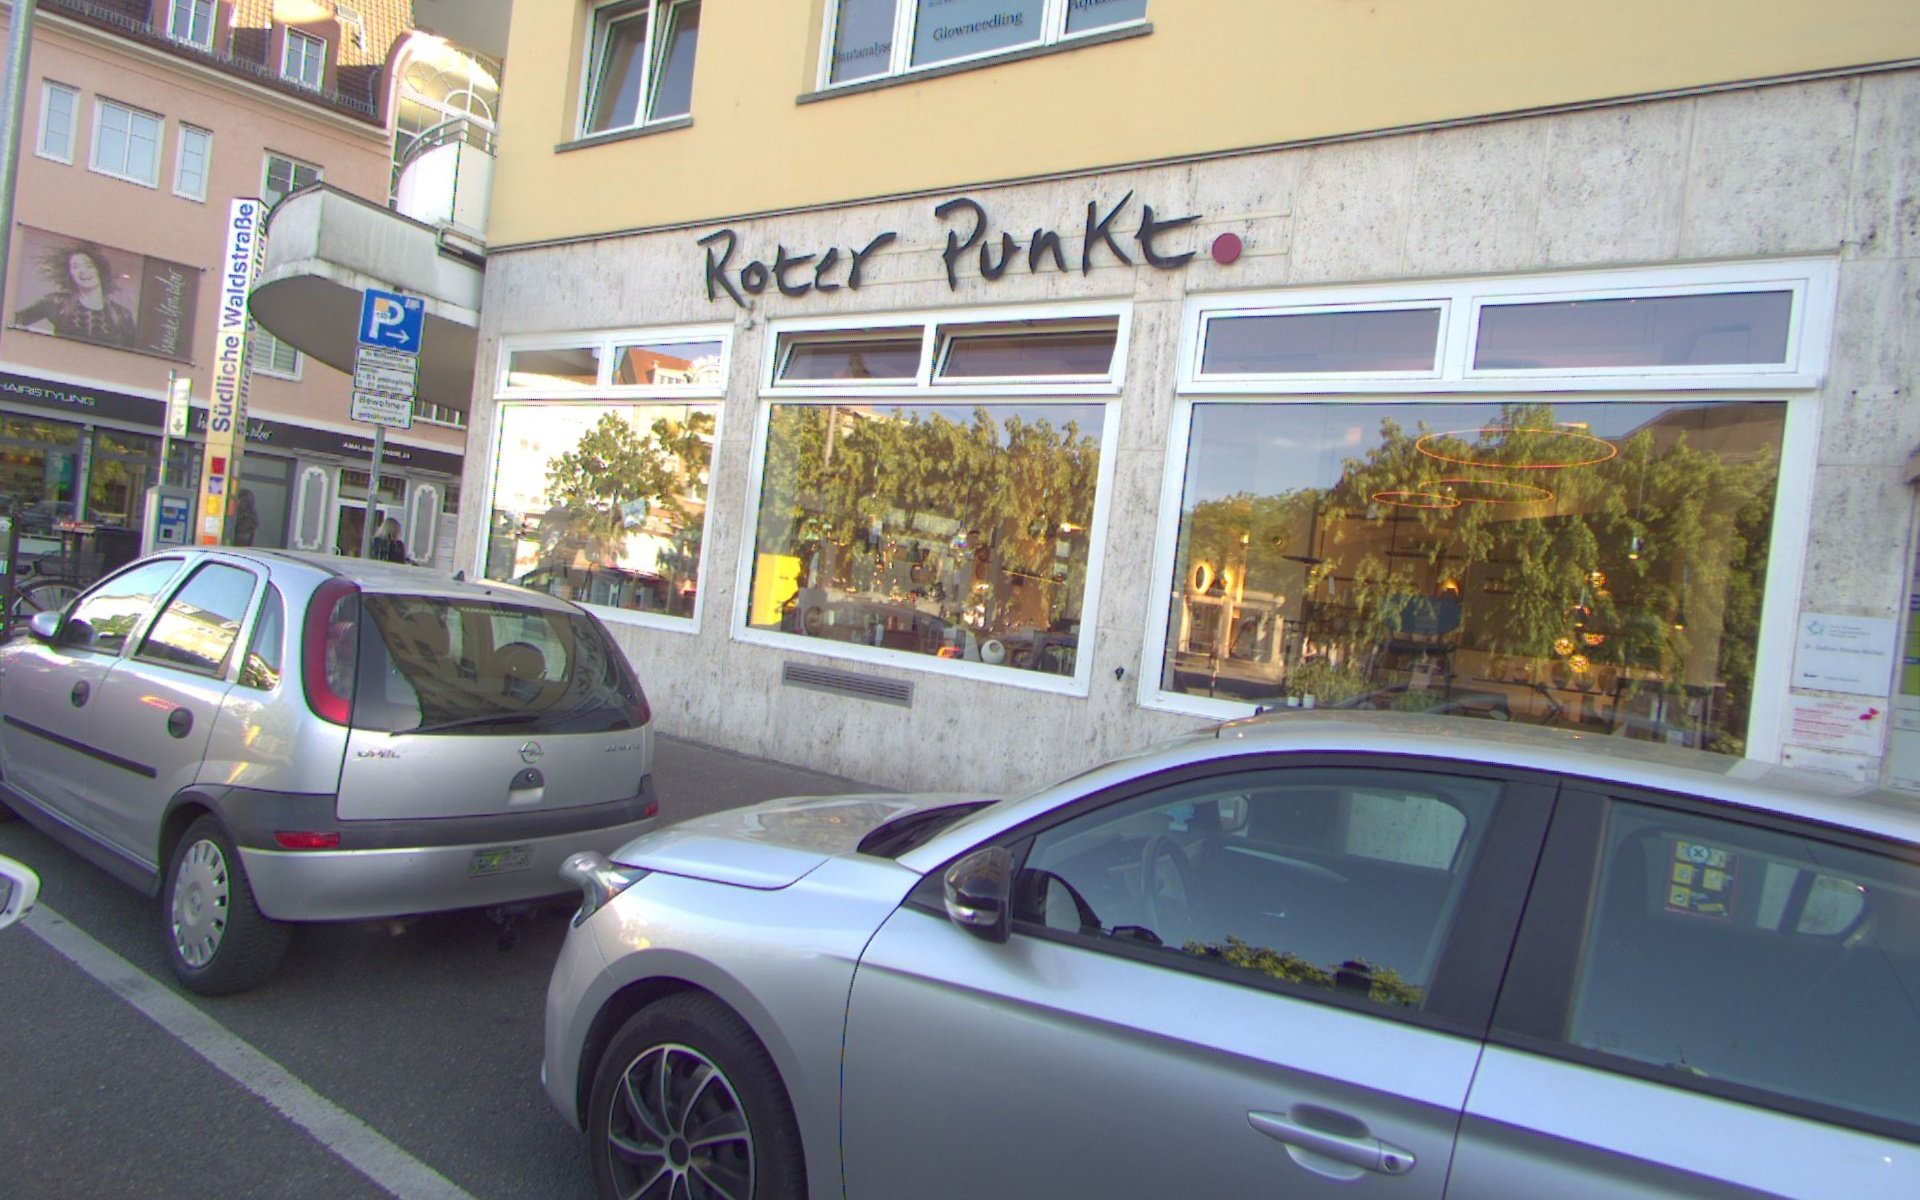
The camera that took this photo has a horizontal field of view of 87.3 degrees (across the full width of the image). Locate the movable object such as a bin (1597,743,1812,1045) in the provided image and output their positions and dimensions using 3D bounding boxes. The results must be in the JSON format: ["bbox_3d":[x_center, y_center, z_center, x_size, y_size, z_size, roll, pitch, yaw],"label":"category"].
[{"bbox_3d":[3.331,1.271,4.574,0.609,1.082,0.703,7,3,31],"label":"movable object such as a bin"}]

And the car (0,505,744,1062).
[{"bbox_3d":[-2.997,0.458,4.486,3.822,1.411,1.624,7,-1,33],"label":"car"}]

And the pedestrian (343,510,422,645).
[{"bbox_3d":[-7.485,-0.287,13.064,0.654,1.654,0.625,5,2,-16],"label":"pedestrian"}]

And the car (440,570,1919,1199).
[{"bbox_3d":[0.950,0.914,2.188,4.008,1.444,1.674,7,-1,30],"label":"car"}]

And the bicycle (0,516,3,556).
[{"bbox_3d":[-9.311,-0.230,8.527,0.425,1.175,1.629,7,1,30],"label":"bicycle"}]

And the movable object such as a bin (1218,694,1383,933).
[{"bbox_3d":[1.865,1.112,5.487,0.609,1.082,0.703,7,3,31],"label":"movable object such as a bin"}]
